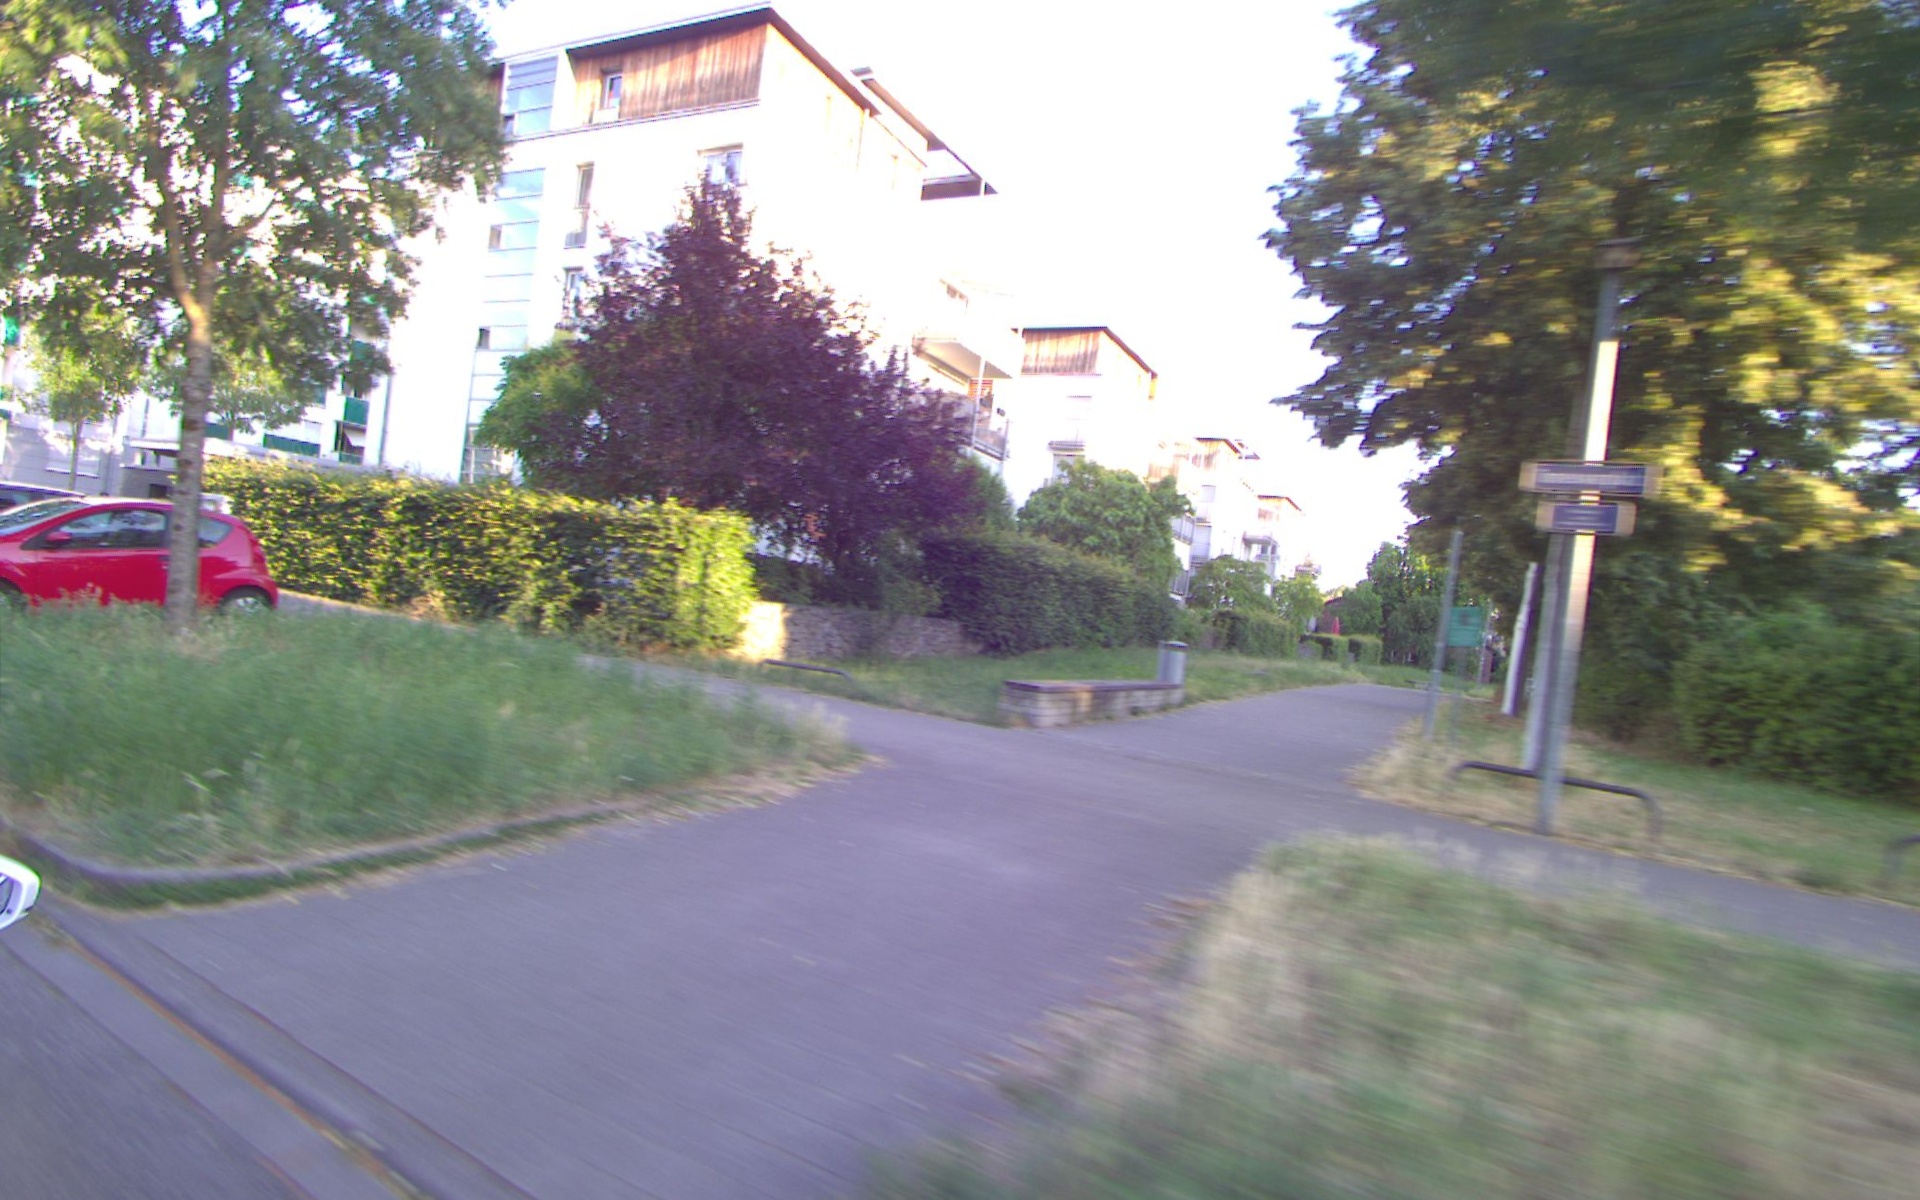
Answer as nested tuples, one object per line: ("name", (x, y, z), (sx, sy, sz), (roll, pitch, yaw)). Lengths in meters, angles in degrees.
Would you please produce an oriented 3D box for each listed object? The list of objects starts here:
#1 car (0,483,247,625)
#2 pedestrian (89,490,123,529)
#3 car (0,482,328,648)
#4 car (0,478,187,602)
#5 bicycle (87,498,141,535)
("car", (-11.537, -0.631, 12.619), (1.650, 1.527, 3.809), (7, 0, 29))
("pedestrian", (-33.252, -3.511, 39.176), (0.789, 1.372, 0.658), (7, 1, 29))
("car", (-9.501, -0.387, 11.152), (1.650, 1.527, 3.809), (7, 0, 29))
("car", (-13.473, -0.933, 14.069), (1.651, 1.527, 3.807), (7, 0, 31))
("bicycle", (-32.638, -3.208, 38.816), (2.418, 1.165, 0.697), (7, 1, 29))
